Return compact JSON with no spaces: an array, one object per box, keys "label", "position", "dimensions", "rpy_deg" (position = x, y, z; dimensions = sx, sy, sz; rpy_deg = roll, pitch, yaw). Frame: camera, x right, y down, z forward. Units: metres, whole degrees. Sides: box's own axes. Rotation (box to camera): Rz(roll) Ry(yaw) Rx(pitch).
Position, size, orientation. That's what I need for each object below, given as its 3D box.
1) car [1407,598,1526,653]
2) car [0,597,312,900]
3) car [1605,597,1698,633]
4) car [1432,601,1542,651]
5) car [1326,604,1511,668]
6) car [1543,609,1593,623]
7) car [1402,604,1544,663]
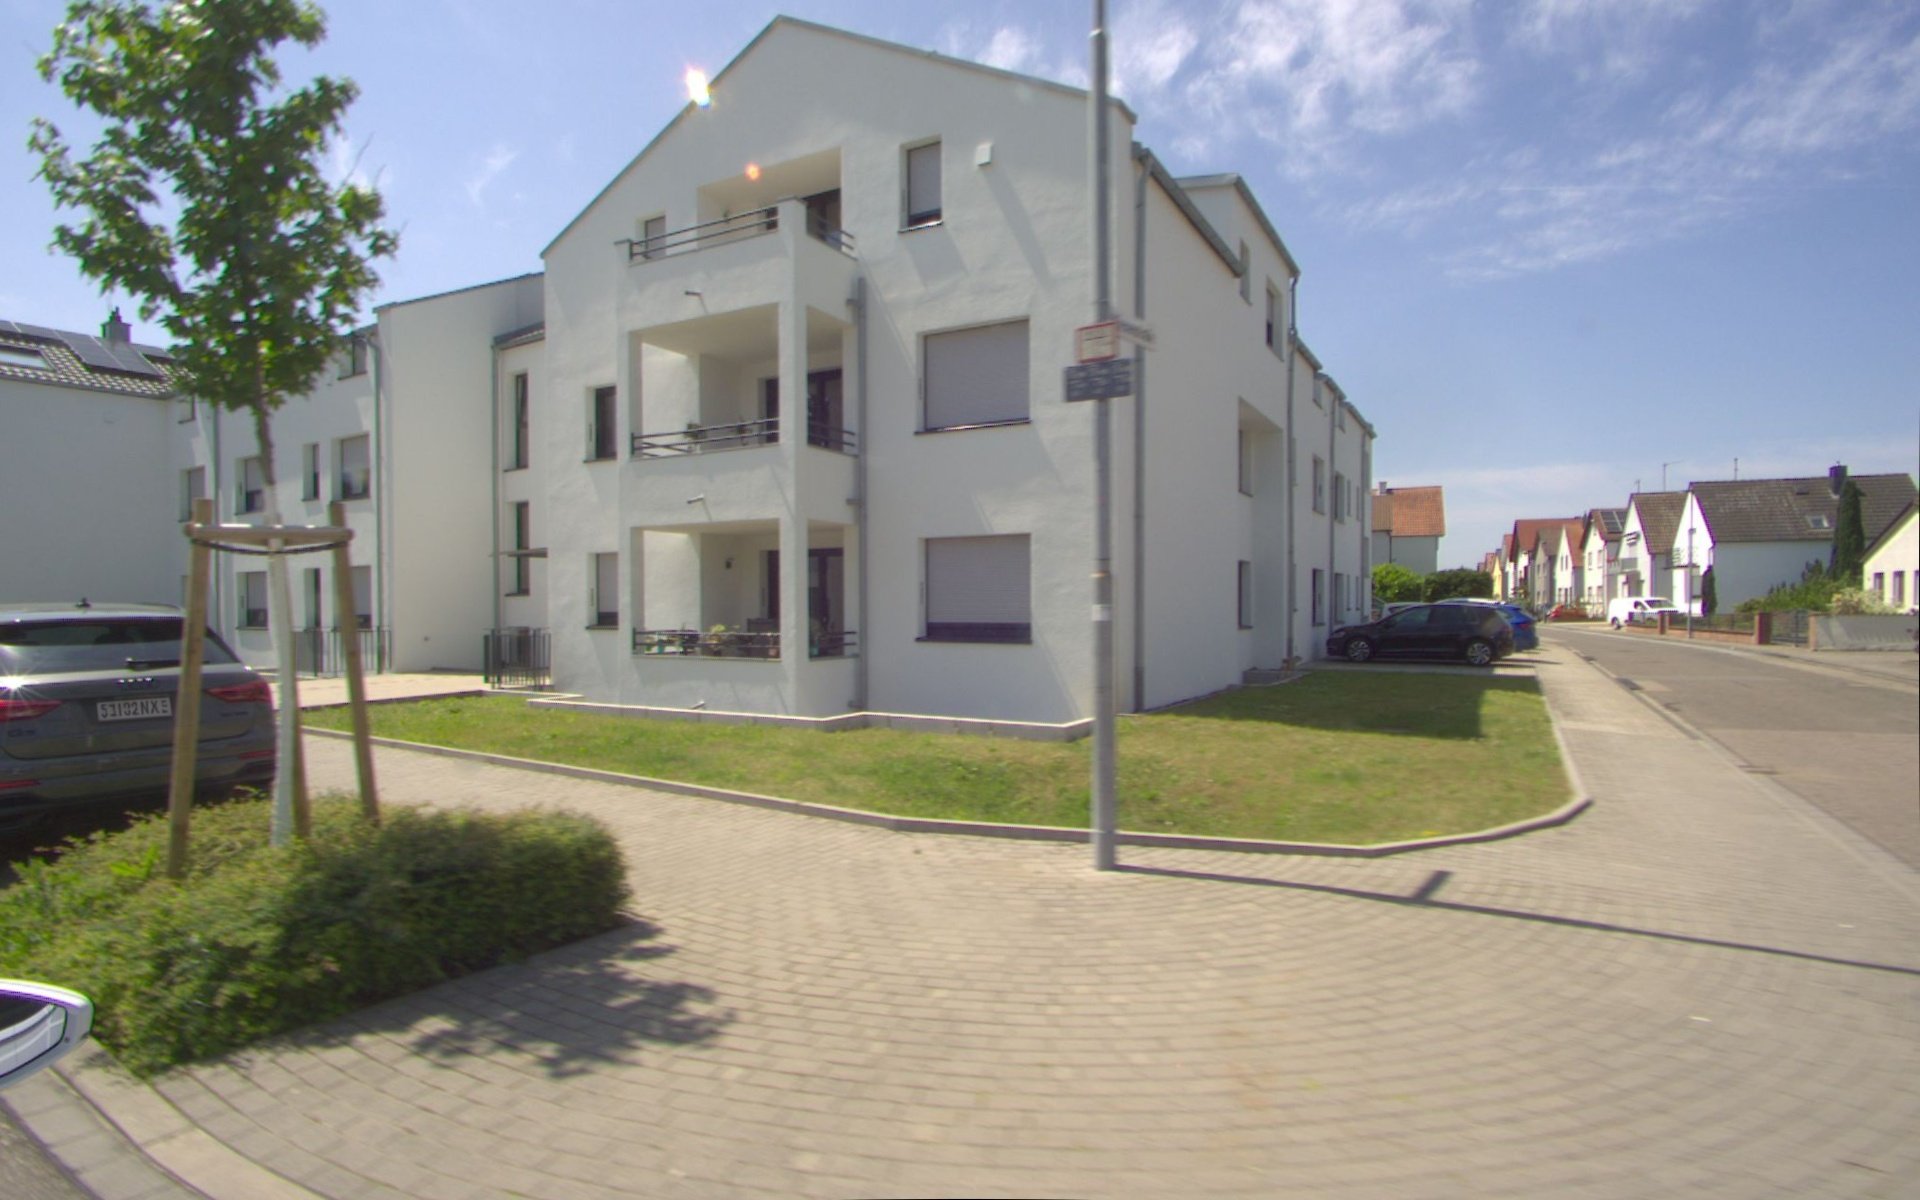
[{"label":"car","position":[15.405,0.751,30.543],"dimensions":[3.166,1.597,1.457],"rpy_deg":[0,0,28]},{"label":"car","position":[-6.535,0.805,7.056],"dimensions":[4.219,1.616,1.769],"rpy_deg":[0,0,33]},{"label":"car","position":[38.613,0.812,56.064],"dimensions":[1.961,1.901,4.456],"rpy_deg":[0,0,-4]},{"label":"car","position":[17.483,0.844,33.292],"dimensions":[3.166,1.597,1.457],"rpy_deg":[0,0,28]},{"label":"car","position":[11.071,0.824,24.215],"dimensions":[3.946,1.431,1.748],"rpy_deg":[0,0,29]},{"label":"car","position":[49.563,1.288,81.662],"dimensions":[3.344,1.181,1.295],"rpy_deg":[0,0,28]},{"label":"car","position":[13.160,0.821,25.785],"dimensions":[3.166,1.460,1.457],"rpy_deg":[0,0,28]}]
